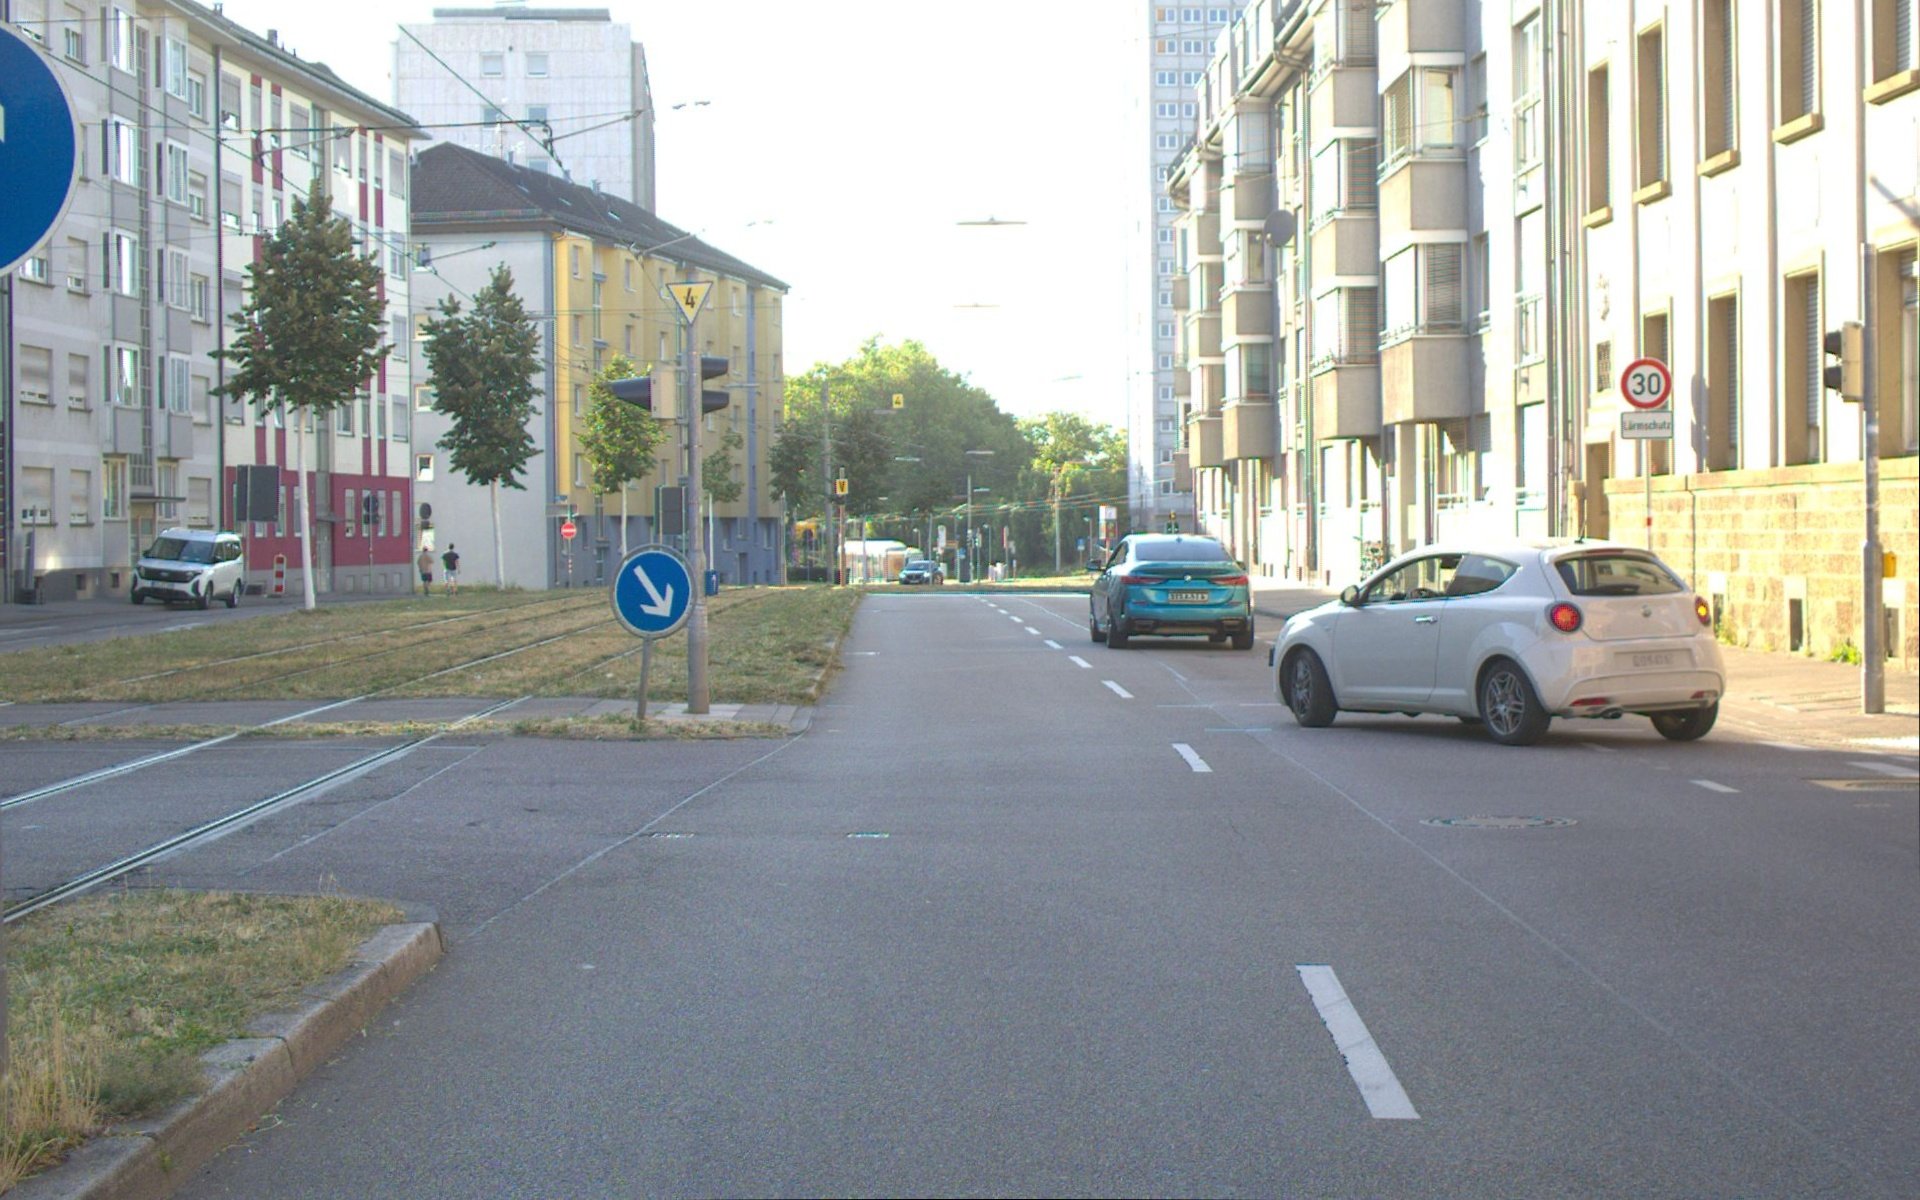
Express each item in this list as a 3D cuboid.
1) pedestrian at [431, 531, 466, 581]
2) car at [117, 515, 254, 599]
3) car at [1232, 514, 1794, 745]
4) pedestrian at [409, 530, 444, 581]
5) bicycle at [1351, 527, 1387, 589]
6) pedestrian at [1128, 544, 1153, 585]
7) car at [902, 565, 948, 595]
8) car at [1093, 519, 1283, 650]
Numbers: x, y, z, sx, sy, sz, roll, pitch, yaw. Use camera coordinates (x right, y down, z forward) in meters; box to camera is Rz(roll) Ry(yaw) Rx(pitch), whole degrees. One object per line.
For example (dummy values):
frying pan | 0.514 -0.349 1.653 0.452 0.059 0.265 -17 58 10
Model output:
pedestrian | -17.303 -1.497 116.266 0.962 1.664 1.011 1 0 5
car | -18.349 -1.013 81.601 1.994 1.918 4.541 1 1 3
car | 3.988 0.177 25.427 1.993 1.558 4.000 0 1 -31
pedestrian | -17.998 -1.504 115.967 0.962 1.688 1.011 1 0 5
bicycle | 7.346 -0.753 61.802 0.383 1.092 1.504 -1 1 -3
pedestrian | 5.520 -1.079 105.120 0.691 1.230 0.736 1 0 0
car | -1.980 -1.144 194.701 1.898 1.628 4.746 -1 1 8
car | 2.845 -0.209 43.764 1.993 1.549 4.394 1 1 -1
